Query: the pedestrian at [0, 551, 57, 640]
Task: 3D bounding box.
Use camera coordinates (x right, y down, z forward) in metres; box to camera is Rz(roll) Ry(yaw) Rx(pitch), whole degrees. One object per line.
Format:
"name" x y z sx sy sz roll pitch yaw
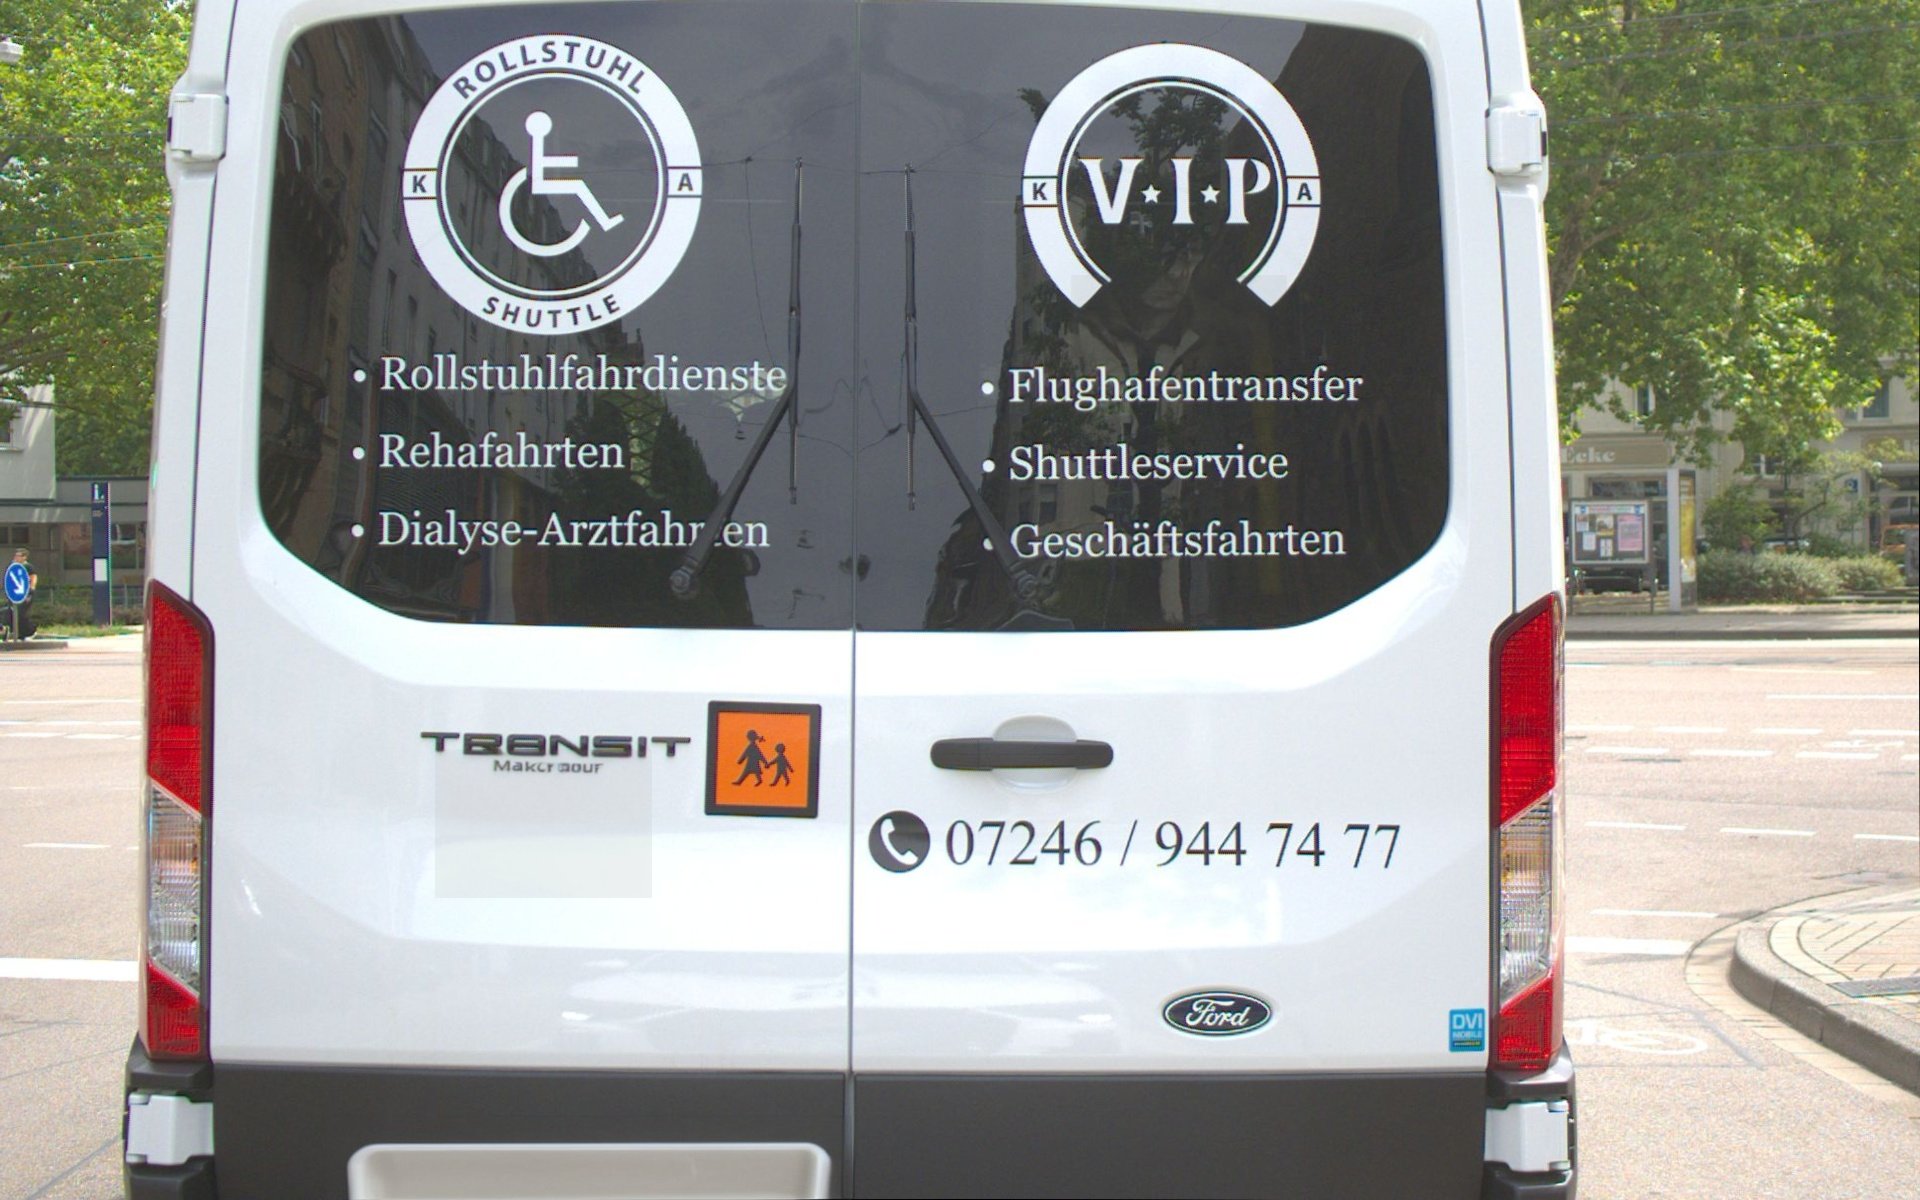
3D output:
"pedestrian" -16.196 -0.085 59.516 0.721 1.509 0.932 -2 1 -40

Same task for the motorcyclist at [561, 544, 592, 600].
"motorcyclist" -9.596 -0.703 86.040 0.683 1.390 0.682 -1 1 0

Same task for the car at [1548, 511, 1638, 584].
"car" 17.453 -1.462 94.963 1.994 1.924 4.000 -1 1 4

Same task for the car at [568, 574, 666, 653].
"car" -6.944 0.255 69.900 1.592 1.502 3.807 -1 1 0

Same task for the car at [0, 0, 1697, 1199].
"car" -0.254 0.033 6.555 2.181 2.638 4.629 0 2 -2

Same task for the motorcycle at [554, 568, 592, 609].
"motorcycle" -9.604 -0.288 85.425 0.683 0.968 2.324 -1 1 0

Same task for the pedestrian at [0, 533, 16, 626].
"pedestrian" -16.587 -0.344 58.387 0.809 1.567 0.722 0 1 41
